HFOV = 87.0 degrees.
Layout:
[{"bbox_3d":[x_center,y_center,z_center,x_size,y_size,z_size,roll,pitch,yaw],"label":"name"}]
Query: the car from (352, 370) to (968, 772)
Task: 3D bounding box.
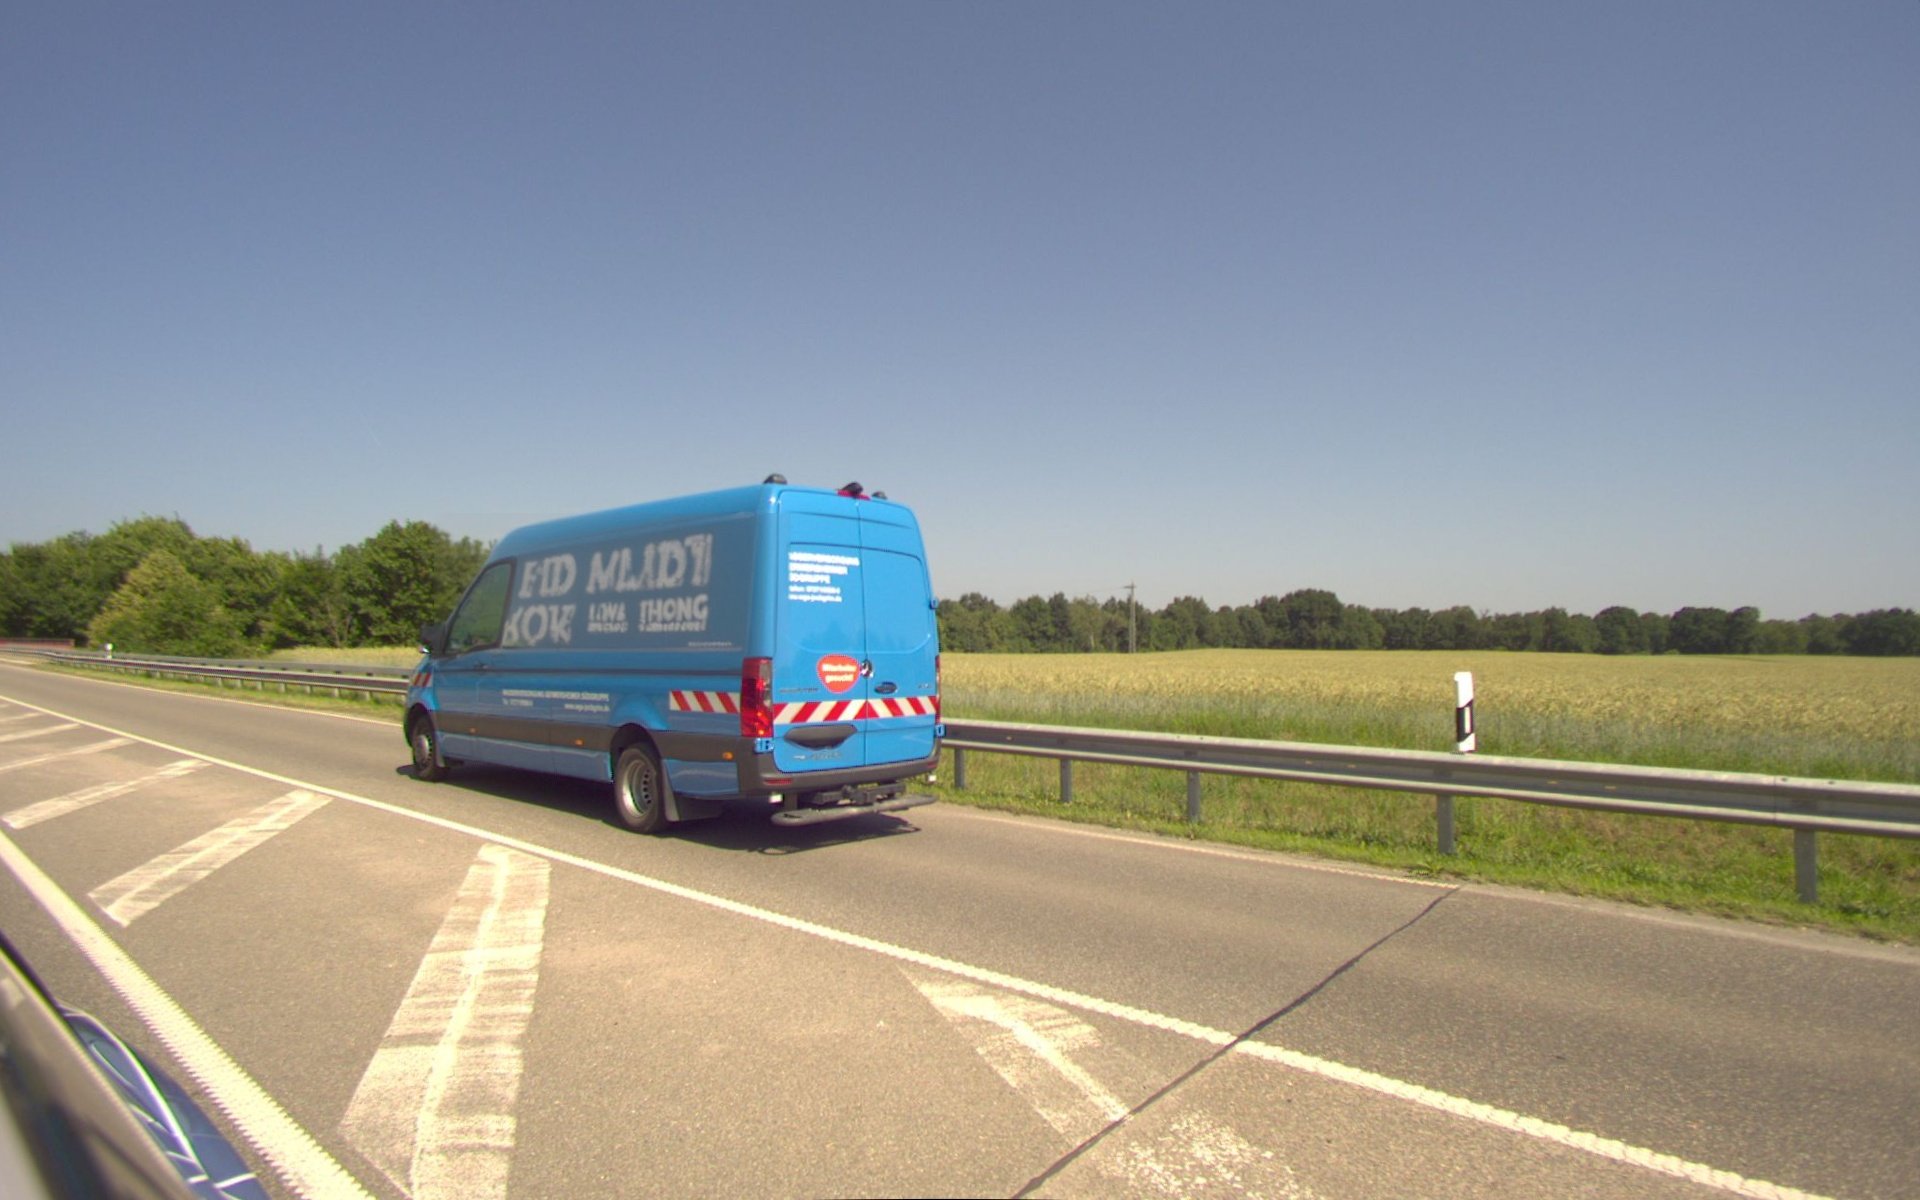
[{"bbox_3d":[-3.365,-0.095,9.745,7.286,2.631,1.973,-1,-4,41],"label":"car"}]
